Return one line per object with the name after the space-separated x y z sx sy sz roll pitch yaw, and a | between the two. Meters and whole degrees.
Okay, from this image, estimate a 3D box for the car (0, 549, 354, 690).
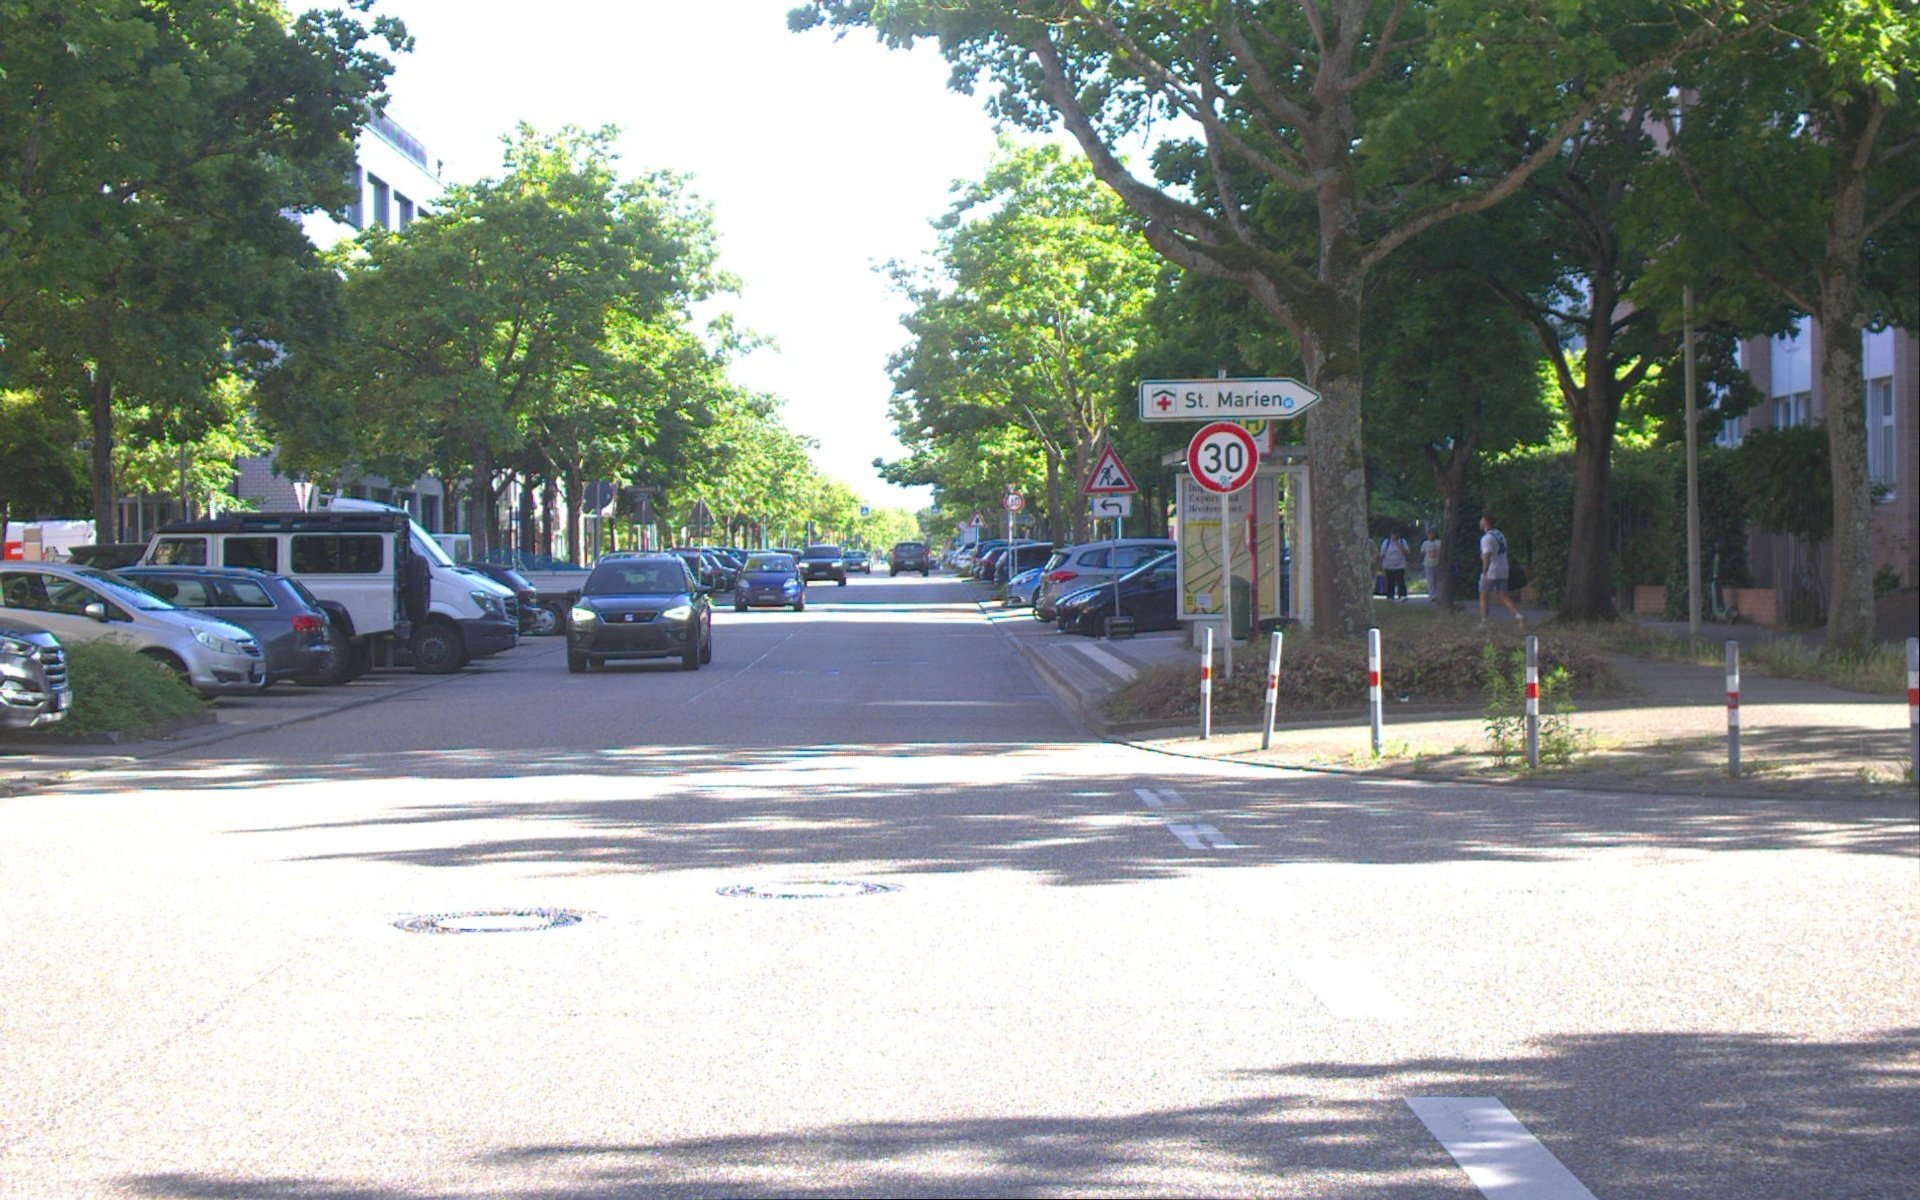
-8.894 0.204 38.720 3.778 1.487 1.833 1 1 1 | car

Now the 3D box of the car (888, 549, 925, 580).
-2.833 -1.892 182.395 1.933 1.592 4.366 -1 1 -1 | car

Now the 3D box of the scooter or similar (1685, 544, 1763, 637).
11.078 -0.138 49.899 0.549 1.321 1.806 1 0 -6 | scooter or similar

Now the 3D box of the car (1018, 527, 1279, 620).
3.317 -0.475 60.944 4.351 1.592 1.940 -1 1 -7 | car

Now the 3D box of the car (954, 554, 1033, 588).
1.763 -1.522 181.435 3.986 1.786 2.000 0 0 -5 | car

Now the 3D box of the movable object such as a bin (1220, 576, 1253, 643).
3.158 0.108 39.287 0.298 0.751 0.467 -3 0 0 | movable object such as a bin

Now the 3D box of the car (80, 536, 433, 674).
-8.931 0.060 43.911 4.107 1.656 2.000 1 0 -2 | car

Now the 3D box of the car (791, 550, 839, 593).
-5.909 -1.170 140.034 1.891 1.678 4.353 -1 1 -3 | car

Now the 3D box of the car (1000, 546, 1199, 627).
3.208 -0.326 79.682 4.405 1.613 1.912 -3 1 -1 | car

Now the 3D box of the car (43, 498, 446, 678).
-8.596 -0.144 41.603 4.481 2.045 2.000 1 0 -2 | car

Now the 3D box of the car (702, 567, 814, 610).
-7.149 -0.414 121.991 3.892 1.459 1.858 0 0 -1 | car

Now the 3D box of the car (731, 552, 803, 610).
-4.891 -0.499 87.540 1.643 1.415 4.000 -1 1 -1 | car

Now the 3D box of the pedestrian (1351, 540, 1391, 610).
8.652 -0.521 72.457 0.700 1.453 0.715 -1 1 -3 | pedestrian

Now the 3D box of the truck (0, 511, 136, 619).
-24.406 -0.867 87.829 6.103 2.695 2.578 -1 1 -2 | truck

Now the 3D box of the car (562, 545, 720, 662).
-4.265 0.026 46.486 1.779 1.506 4.000 0 1 0 | car

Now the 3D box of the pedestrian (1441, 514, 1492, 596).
10.781 -0.961 73.240 0.695 1.705 0.921 -4 1 -11 | pedestrian

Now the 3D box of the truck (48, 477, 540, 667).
-9.001 -0.373 46.852 6.232 2.413 2.187 1 0 0 | truck

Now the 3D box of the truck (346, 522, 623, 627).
-9.094 -0.493 66.064 4.985 1.952 2.138 0 1 2 | truck

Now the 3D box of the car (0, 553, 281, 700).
-9.211 0.250 35.933 3.835 1.456 1.732 1 1 3 | car

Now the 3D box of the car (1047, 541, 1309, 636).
3.387 -0.187 53.984 3.934 1.434 1.775 0 1 -2 | car

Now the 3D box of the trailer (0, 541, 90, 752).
-9.025 0.302 26.384 4.260 1.566 1.856 1 0 -4 | trailer

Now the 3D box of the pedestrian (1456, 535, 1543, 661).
7.607 -0.039 48.473 0.917 1.705 0.698 -4 1 -14 | pedestrian

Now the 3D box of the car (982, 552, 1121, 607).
2.905 -0.648 109.809 4.267 1.628 1.858 -1 0 -3 | car
